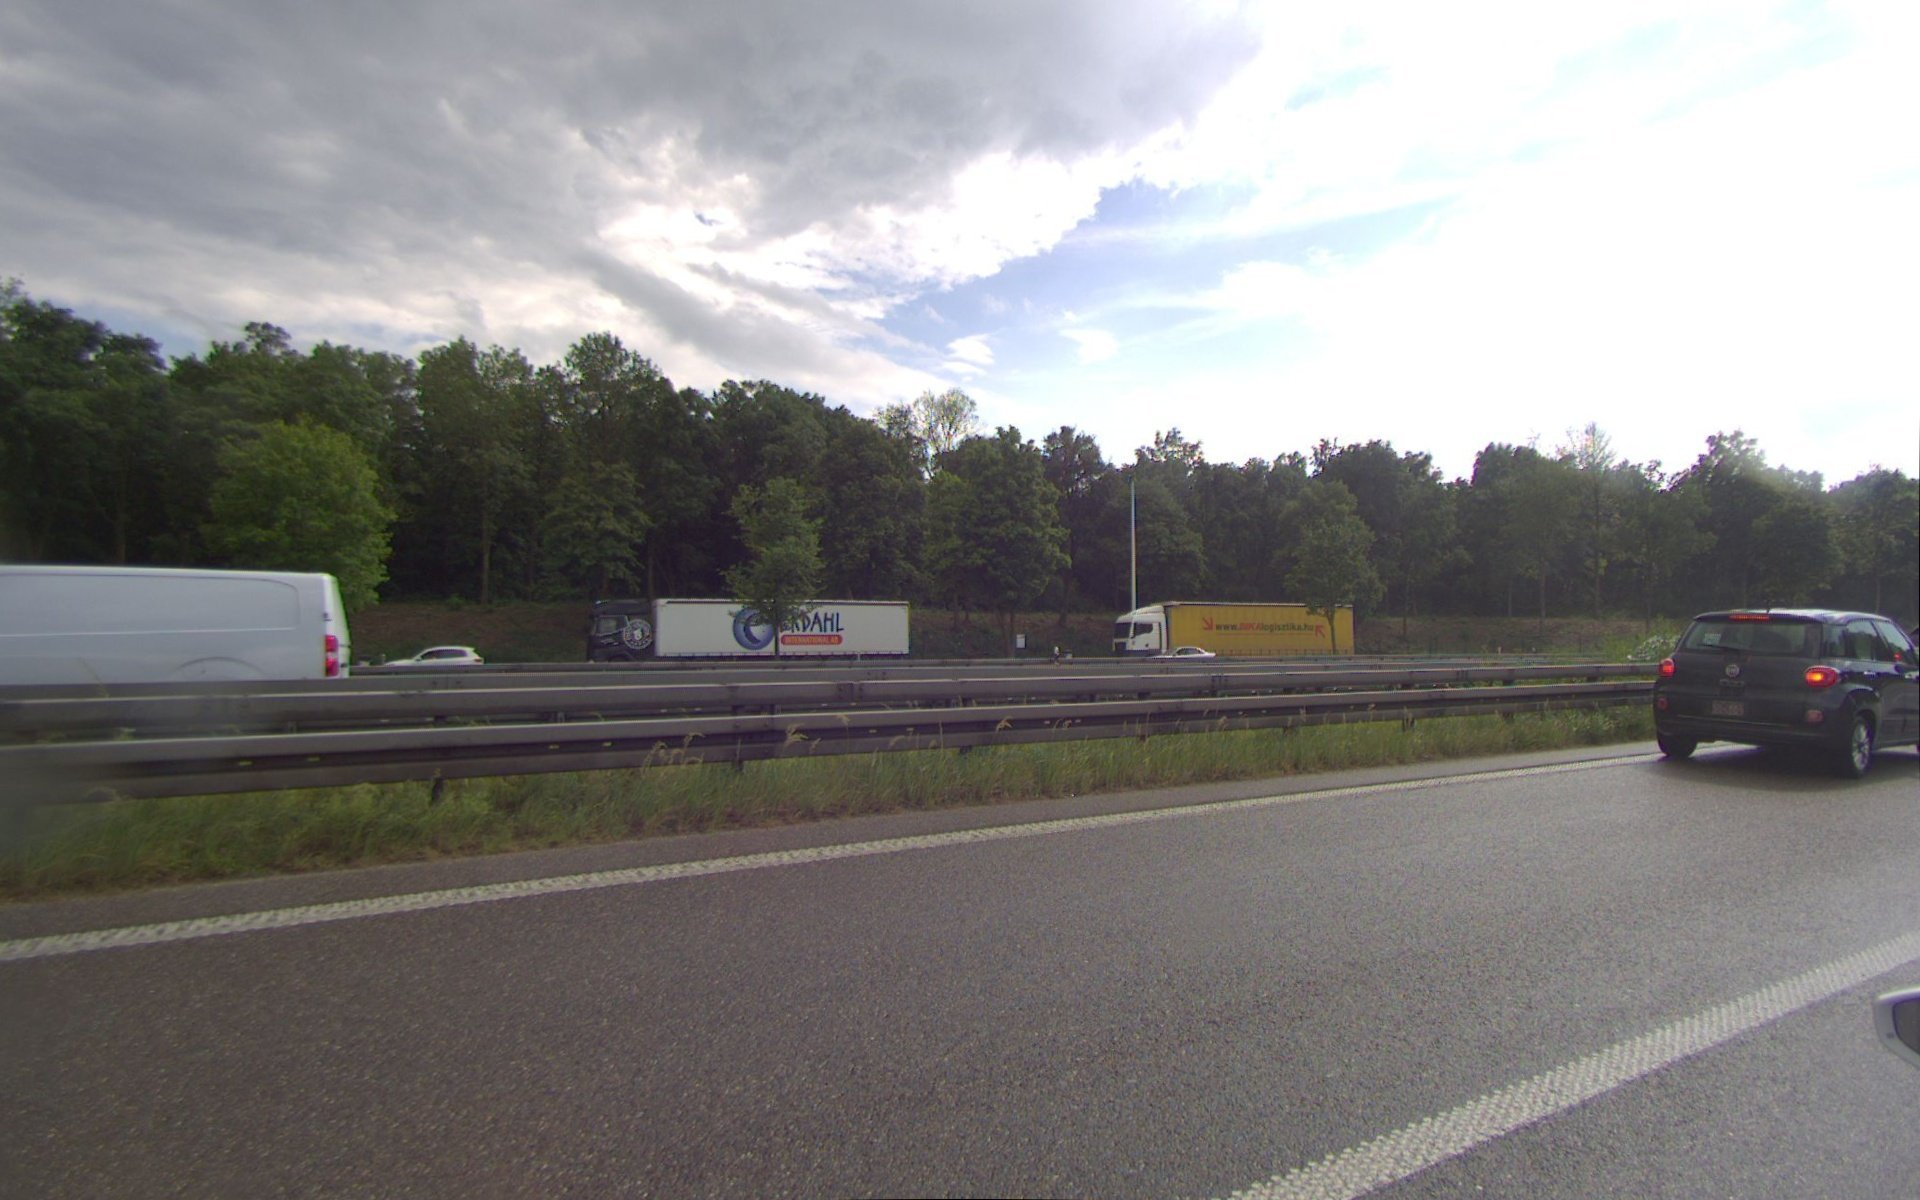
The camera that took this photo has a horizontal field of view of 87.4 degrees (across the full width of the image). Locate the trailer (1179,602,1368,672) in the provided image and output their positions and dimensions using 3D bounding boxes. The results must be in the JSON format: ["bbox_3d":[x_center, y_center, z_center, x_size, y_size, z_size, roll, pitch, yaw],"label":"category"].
[{"bbox_3d":[20.327,2.396,65.175,11.538,4.171,3.786,2,0,-17],"label":"trailer"}]

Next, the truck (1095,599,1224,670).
[{"bbox_3d":[12.408,2.152,62.706,6.933,4.171,3.786,2,0,-17],"label":"truck"}]

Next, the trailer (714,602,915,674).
[{"bbox_3d":[-7.937,2.063,55.116,10.349,3.697,3.780,1,-1,-24],"label":"trailer"}]

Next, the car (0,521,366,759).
[{"bbox_3d":[-8.781,0.346,9.727,5.150,2.073,2.041,2,0,-31],"label":"car"}]

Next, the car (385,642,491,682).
[{"bbox_3d":[-24.600,2.925,47.472,4.313,1.741,2.050,2,0,-28],"label":"car"}]

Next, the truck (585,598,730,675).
[{"bbox_3d":[-15.566,1.870,51.618,6.615,3.709,3.776,2,0,-25],"label":"truck"}]

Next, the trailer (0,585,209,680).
[{"bbox_3d":[-38.914,1.303,40.628,13.187,3.697,3.771,1,-2,-30],"label":"trailer"}]

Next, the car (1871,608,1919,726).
[{"bbox_3d":[15.687,0.999,15.073,4.567,1.658,1.898,2,-2,-33],"label":"car"}]

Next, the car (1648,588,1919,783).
[{"bbox_3d":[9.559,0.846,11.180,3.931,1.829,1.683,2,0,-32],"label":"car"}]
